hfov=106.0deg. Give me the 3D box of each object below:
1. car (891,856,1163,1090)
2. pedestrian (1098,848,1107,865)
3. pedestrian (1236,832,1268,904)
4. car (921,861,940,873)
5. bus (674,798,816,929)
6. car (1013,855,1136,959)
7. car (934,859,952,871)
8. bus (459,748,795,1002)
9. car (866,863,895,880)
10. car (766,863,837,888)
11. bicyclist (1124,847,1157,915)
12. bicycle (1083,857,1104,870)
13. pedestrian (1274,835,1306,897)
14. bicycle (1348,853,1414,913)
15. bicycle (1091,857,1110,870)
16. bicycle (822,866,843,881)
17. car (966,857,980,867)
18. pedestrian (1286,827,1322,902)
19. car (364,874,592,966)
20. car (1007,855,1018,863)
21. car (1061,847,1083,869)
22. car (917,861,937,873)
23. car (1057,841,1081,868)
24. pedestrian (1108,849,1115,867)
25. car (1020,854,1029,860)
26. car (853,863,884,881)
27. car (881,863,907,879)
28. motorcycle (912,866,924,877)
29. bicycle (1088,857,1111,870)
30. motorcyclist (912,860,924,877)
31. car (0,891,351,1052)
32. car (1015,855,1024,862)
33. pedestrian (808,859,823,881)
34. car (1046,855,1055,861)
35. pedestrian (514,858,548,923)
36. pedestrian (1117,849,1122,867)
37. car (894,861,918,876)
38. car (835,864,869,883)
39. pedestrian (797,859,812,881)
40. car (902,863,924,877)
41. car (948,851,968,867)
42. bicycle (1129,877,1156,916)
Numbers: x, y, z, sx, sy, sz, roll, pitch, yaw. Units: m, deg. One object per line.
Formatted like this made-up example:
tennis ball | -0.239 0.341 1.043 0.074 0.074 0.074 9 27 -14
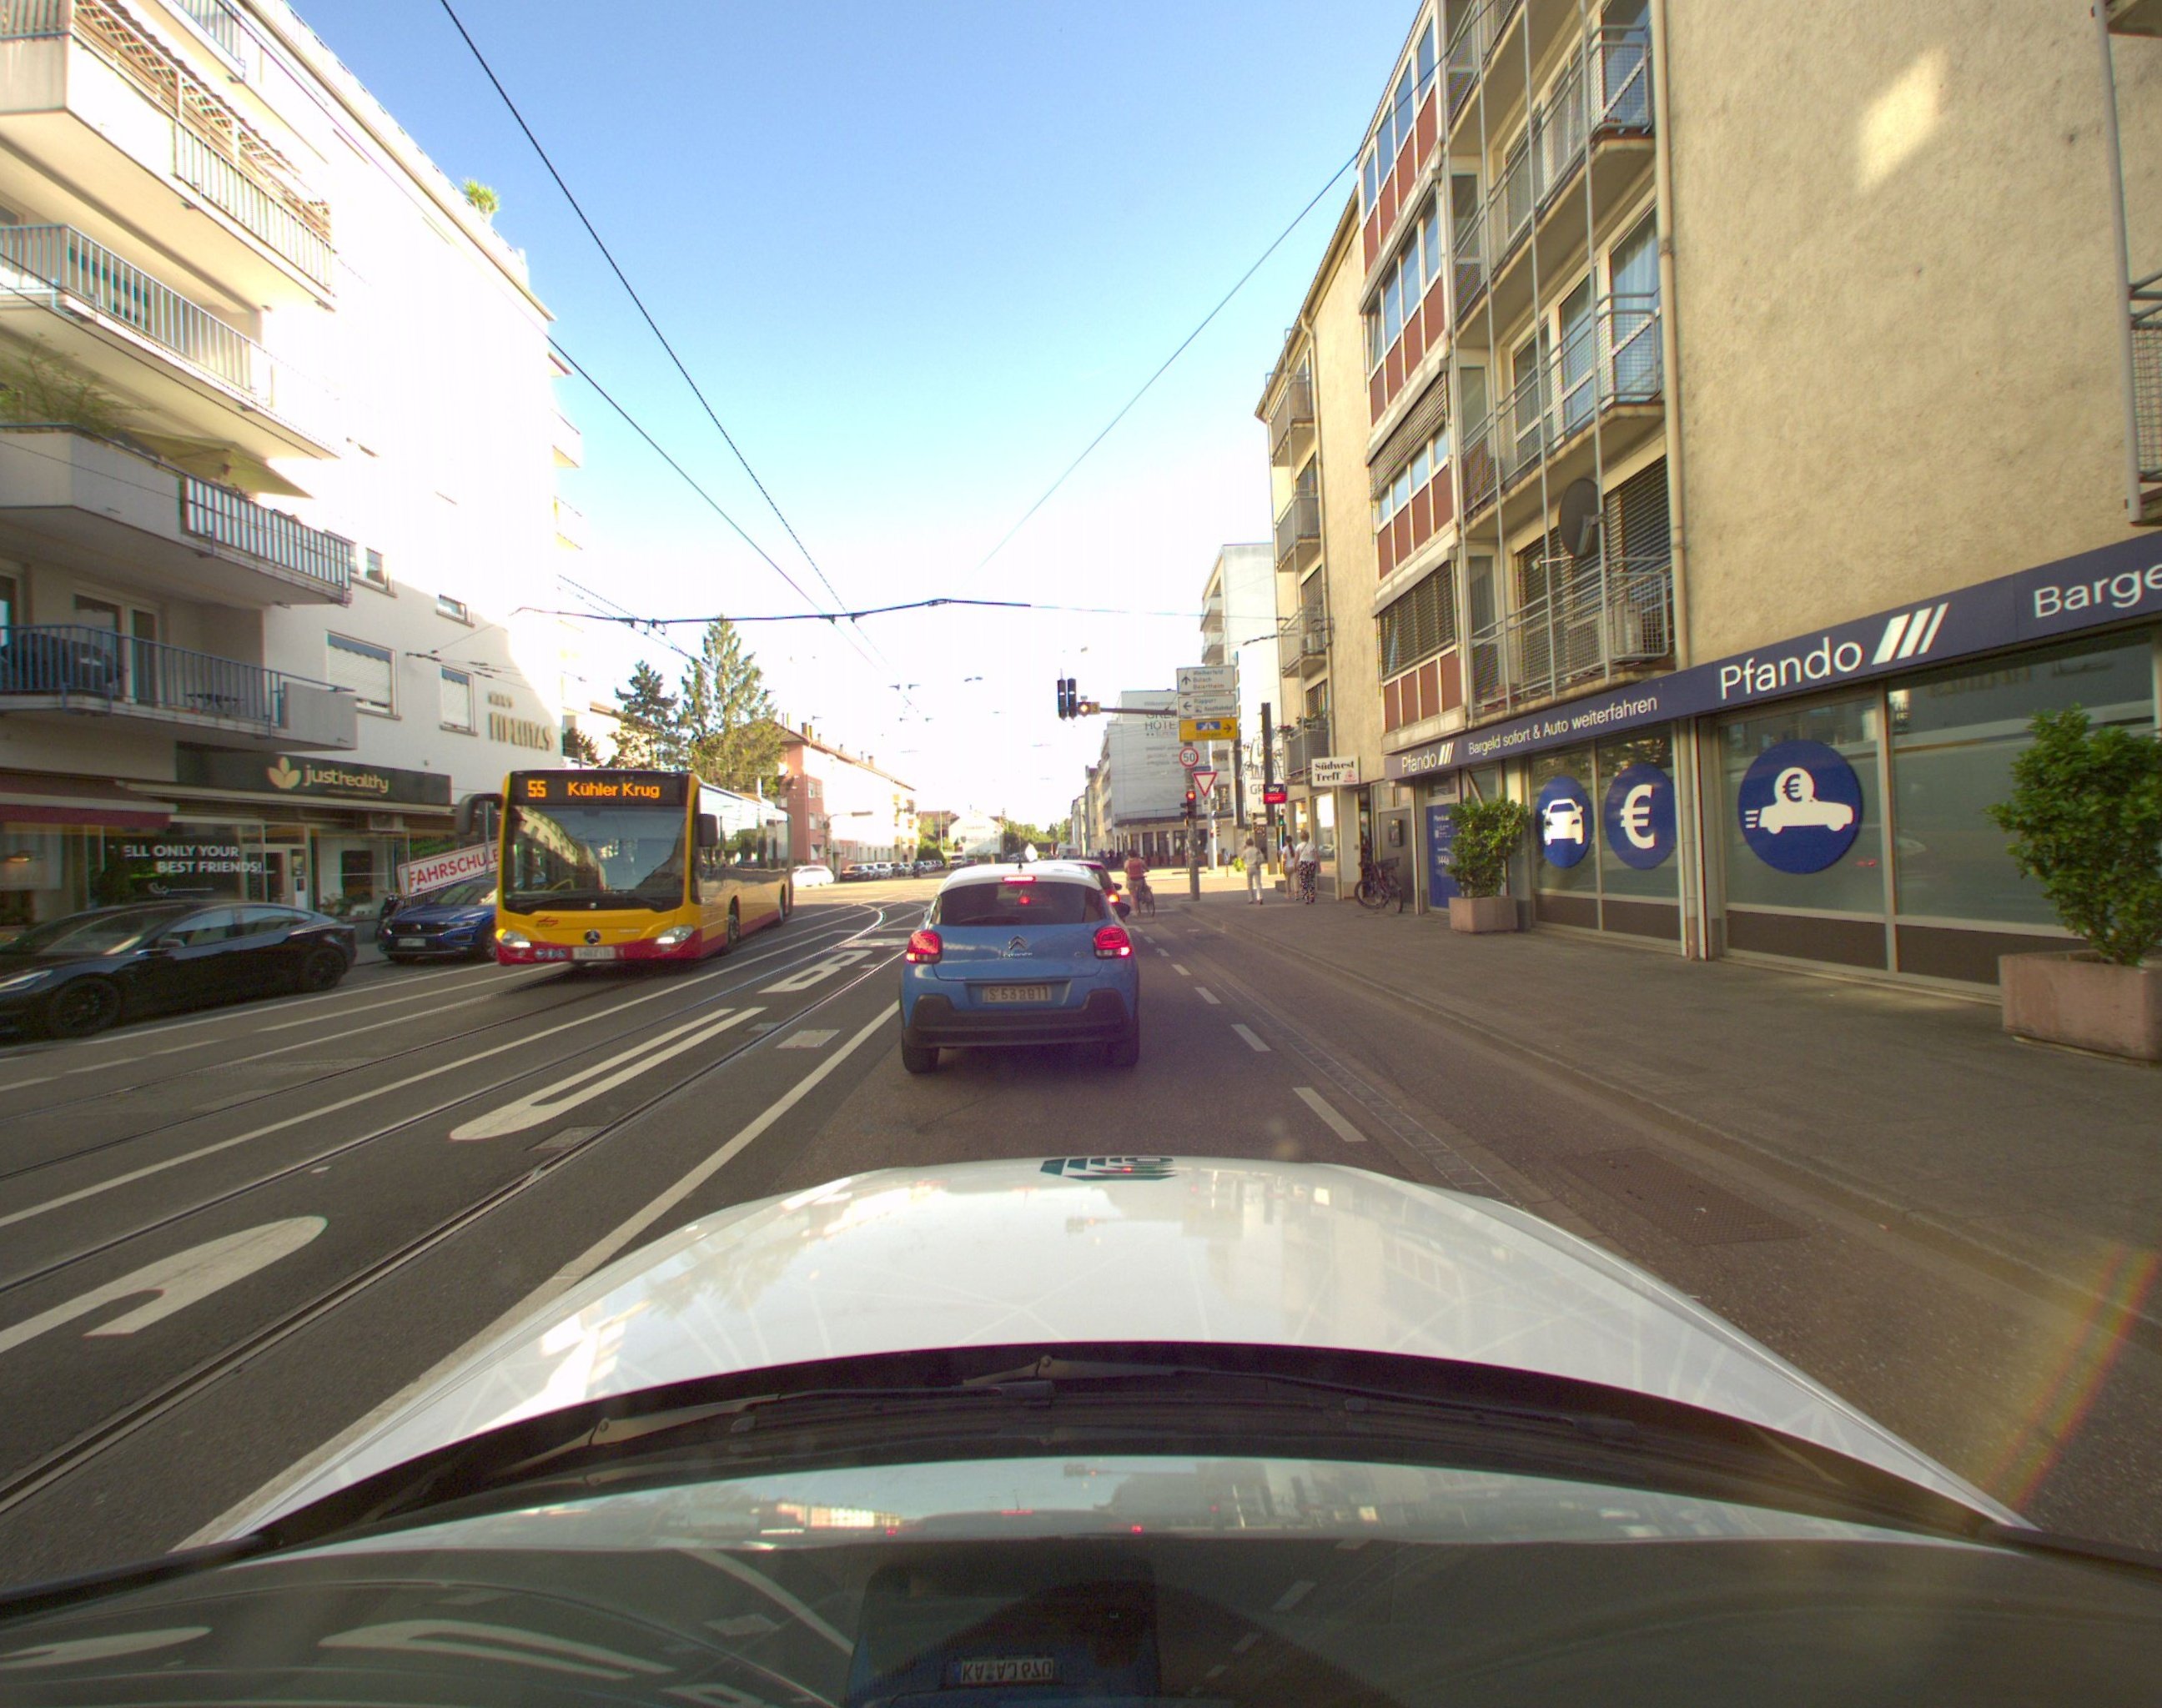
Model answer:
car | -0.480 0.765 7.288 1.741 1.462 3.994 -1 0 -4
pedestrian | 1.939 0.218 73.527 0.651 1.556 0.488 -2 0 -36
pedestrian | 4.160 0.331 19.813 0.539 1.672 0.624 -4 1 0
car | -20.640 1.735 111.780 1.906 1.497 3.996 -3 0 -2
bus | -9.602 0.249 24.110 2.742 3.161 7.539 -3 0 -15
car | -0.034 0.778 13.873 1.732 1.420 4.002 -2 0 2
car | -20.691 1.636 122.307 2.024 1.619 4.509 -3 0 -1
bus | -7.548 0.260 15.488 2.725 3.158 10.149 -3 0 -13
car | -19.662 1.668 79.841 1.906 1.497 3.996 -3 0 -2
car | -19.476 1.476 56.915 1.832 1.574 4.429 -2 0 32
bicyclist | 1.492 0.653 20.432 0.723 1.646 0.790 -2 0 1
bicycle | 1.064 0.809 68.597 1.713 0.957 0.702 -3 0 3
pedestrian | 5.283 0.288 20.605 0.539 1.507 0.611 -4 1 0
bicycle | 5.758 0.523 15.730 0.529 1.072 1.810 -2 0 -2
bicycle | 1.601 0.782 66.165 1.497 0.957 0.702 -3 0 3
bicycle | -22.691 1.767 74.403 0.845 1.225 3.304 -2 0 0
car | -19.314 1.410 145.457 2.016 1.525 3.997 -2 0 -2
pedestrian | 5.165 0.244 18.903 0.539 1.672 0.650 -4 0 0
car | -11.844 1.205 16.388 1.740 1.509 3.995 -1 0 -3
car | -14.236 1.064 170.013 2.016 1.525 3.997 -2 0 -2
car | -0.786 0.359 67.757 1.727 1.750 3.212 -1 0 -2
car | -20.133 1.698 106.766 1.906 1.497 3.996 -3 0 -2
car | -1.073 0.042 72.684 1.988 2.325 3.997 -1 0 -1
pedestrian | 2.611 0.327 70.066 0.490 1.556 0.383 -3 0 -2
car | -14.967 0.804 216.163 1.992 1.684 3.989 -3 0 -8
car | -19.594 1.622 75.213 1.906 1.497 3.996 -3 0 -2
car | -19.894 1.763 86.632 1.906 1.497 3.996 -3 0 -2
motorcycle | -13.548 1.458 67.796 0.613 0.864 1.671 -3 0 2
bicycle | 1.544 0.788 67.227 1.866 0.957 0.702 -3 0 3
motorcyclist | -13.555 1.170 67.642 0.716 1.378 0.912 -3 0 2
car | -12.003 1.311 10.294 1.694 1.509 4.310 -1 -1 -1
car | -14.163 0.997 187.864 2.016 1.525 3.997 -3 0 -2
pedestrian | -21.053 1.239 64.623 0.840 1.690 0.738 -2 0 4
car | -6.646 0.783 176.722 1.752 1.259 3.825 -2 0 -5
pedestrian | -17.292 1.135 25.611 0.685 2.013 0.485 -2 0 -5
pedestrian | 3.312 0.314 70.282 0.284 1.556 0.304 -3 0 -7
car | -19.900 1.619 92.776 1.906 1.497 3.996 -3 0 -2
car | -19.492 1.674 69.479 1.907 1.433 3.995 -3 0 -4
pedestrian | -21.932 1.261 64.523 0.840 1.690 0.738 -2 0 4
car | -20.311 1.920 98.360 1.906 1.497 3.996 -3 0 -2
car | -18.100 0.771 120.052 2.201 2.251 4.673 -3 0 -2
bicycle | 1.556 1.067 20.787 0.497 0.864 1.748 -2 0 0
